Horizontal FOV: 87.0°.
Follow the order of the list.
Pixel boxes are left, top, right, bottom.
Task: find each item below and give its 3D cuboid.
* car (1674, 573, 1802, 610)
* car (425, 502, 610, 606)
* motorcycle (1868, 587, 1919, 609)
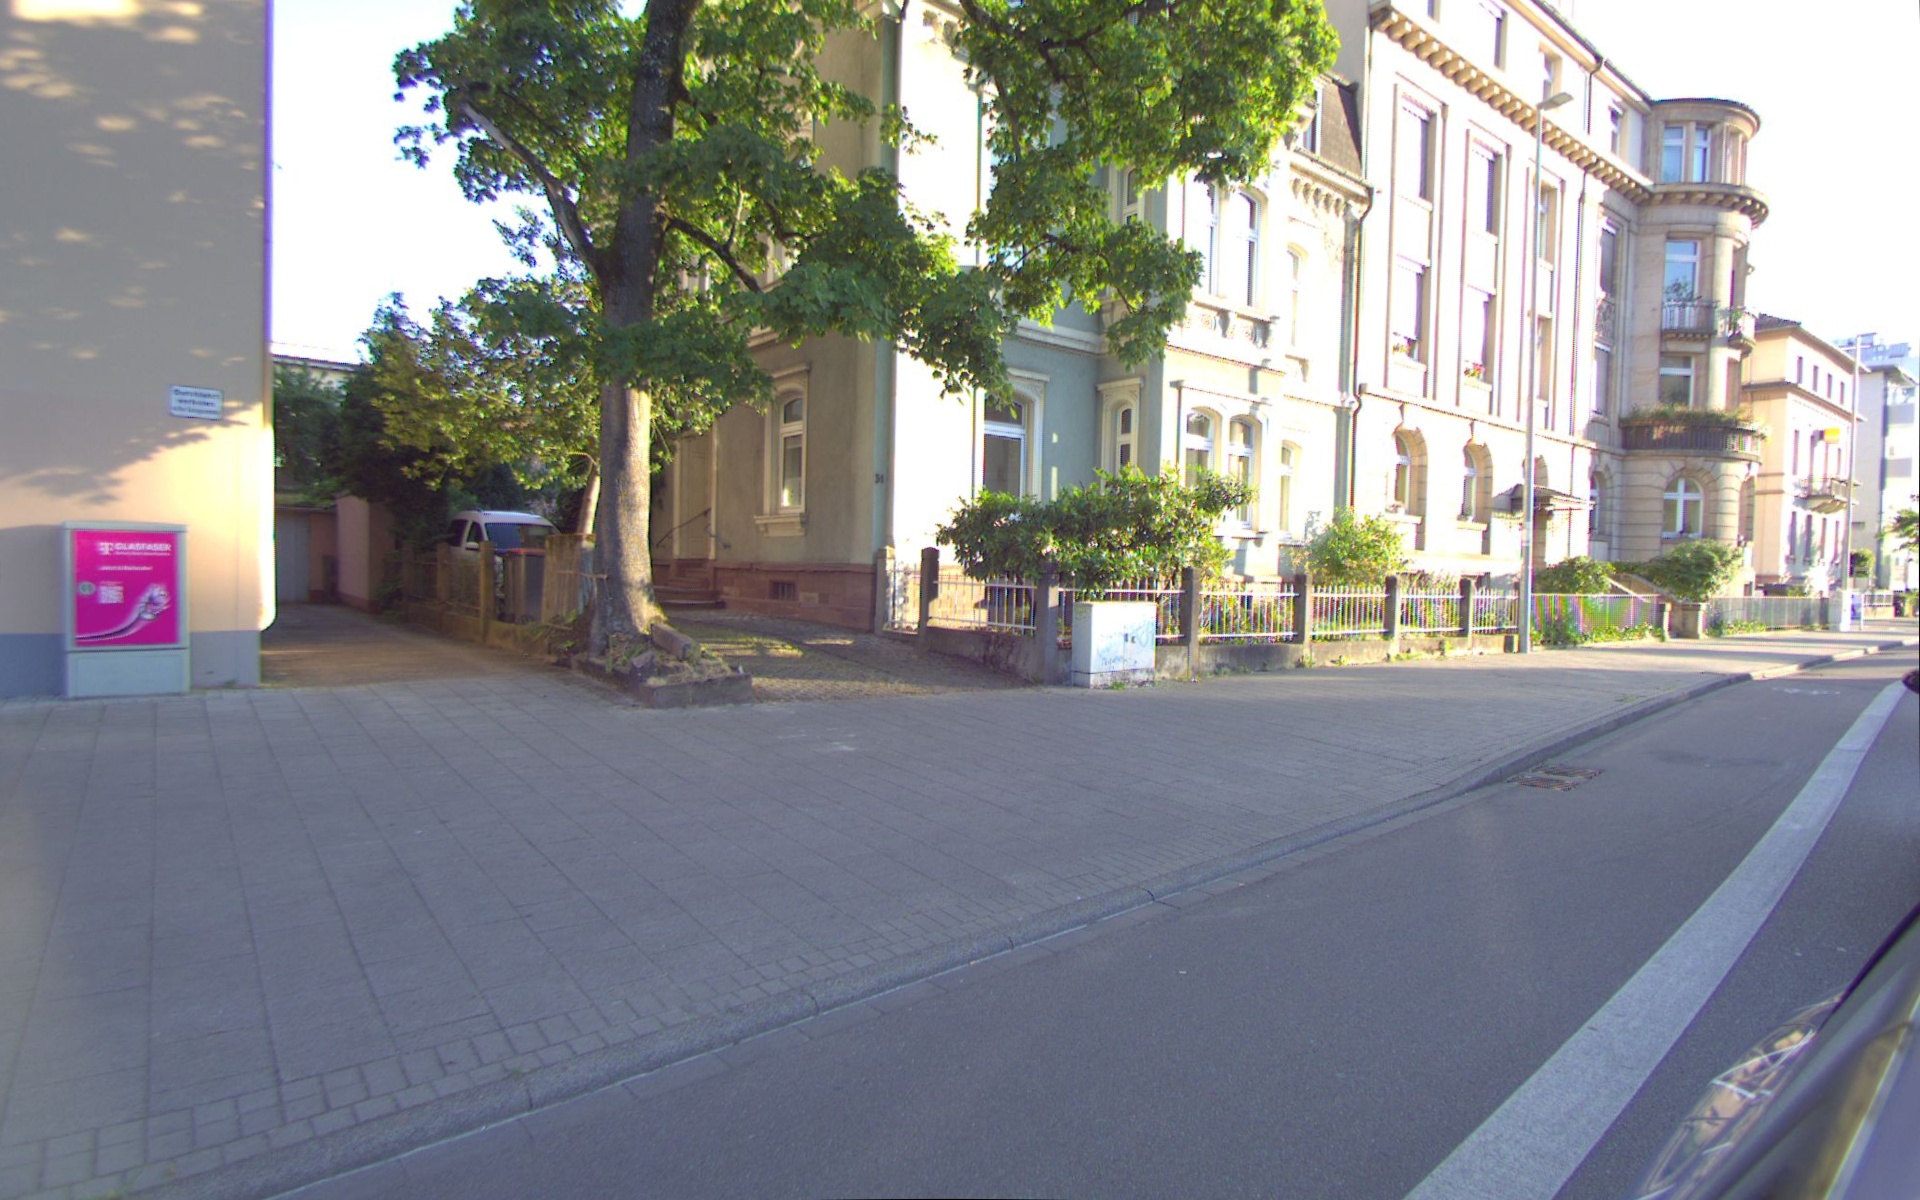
[{"bbox_3d":[34.039,-0.415,44.340,1.903,1.499,4.098,0,2,-38],"label":"car"},{"bbox_3d":[-8.656,-0.930,19.580,1.795,1.778,4.513,1,3,-44],"label":"car"},{"bbox_3d":[48.296,-0.120,52.348,0.564,1.110,1.851,0,1,-33],"label":"motorcycle"}]
